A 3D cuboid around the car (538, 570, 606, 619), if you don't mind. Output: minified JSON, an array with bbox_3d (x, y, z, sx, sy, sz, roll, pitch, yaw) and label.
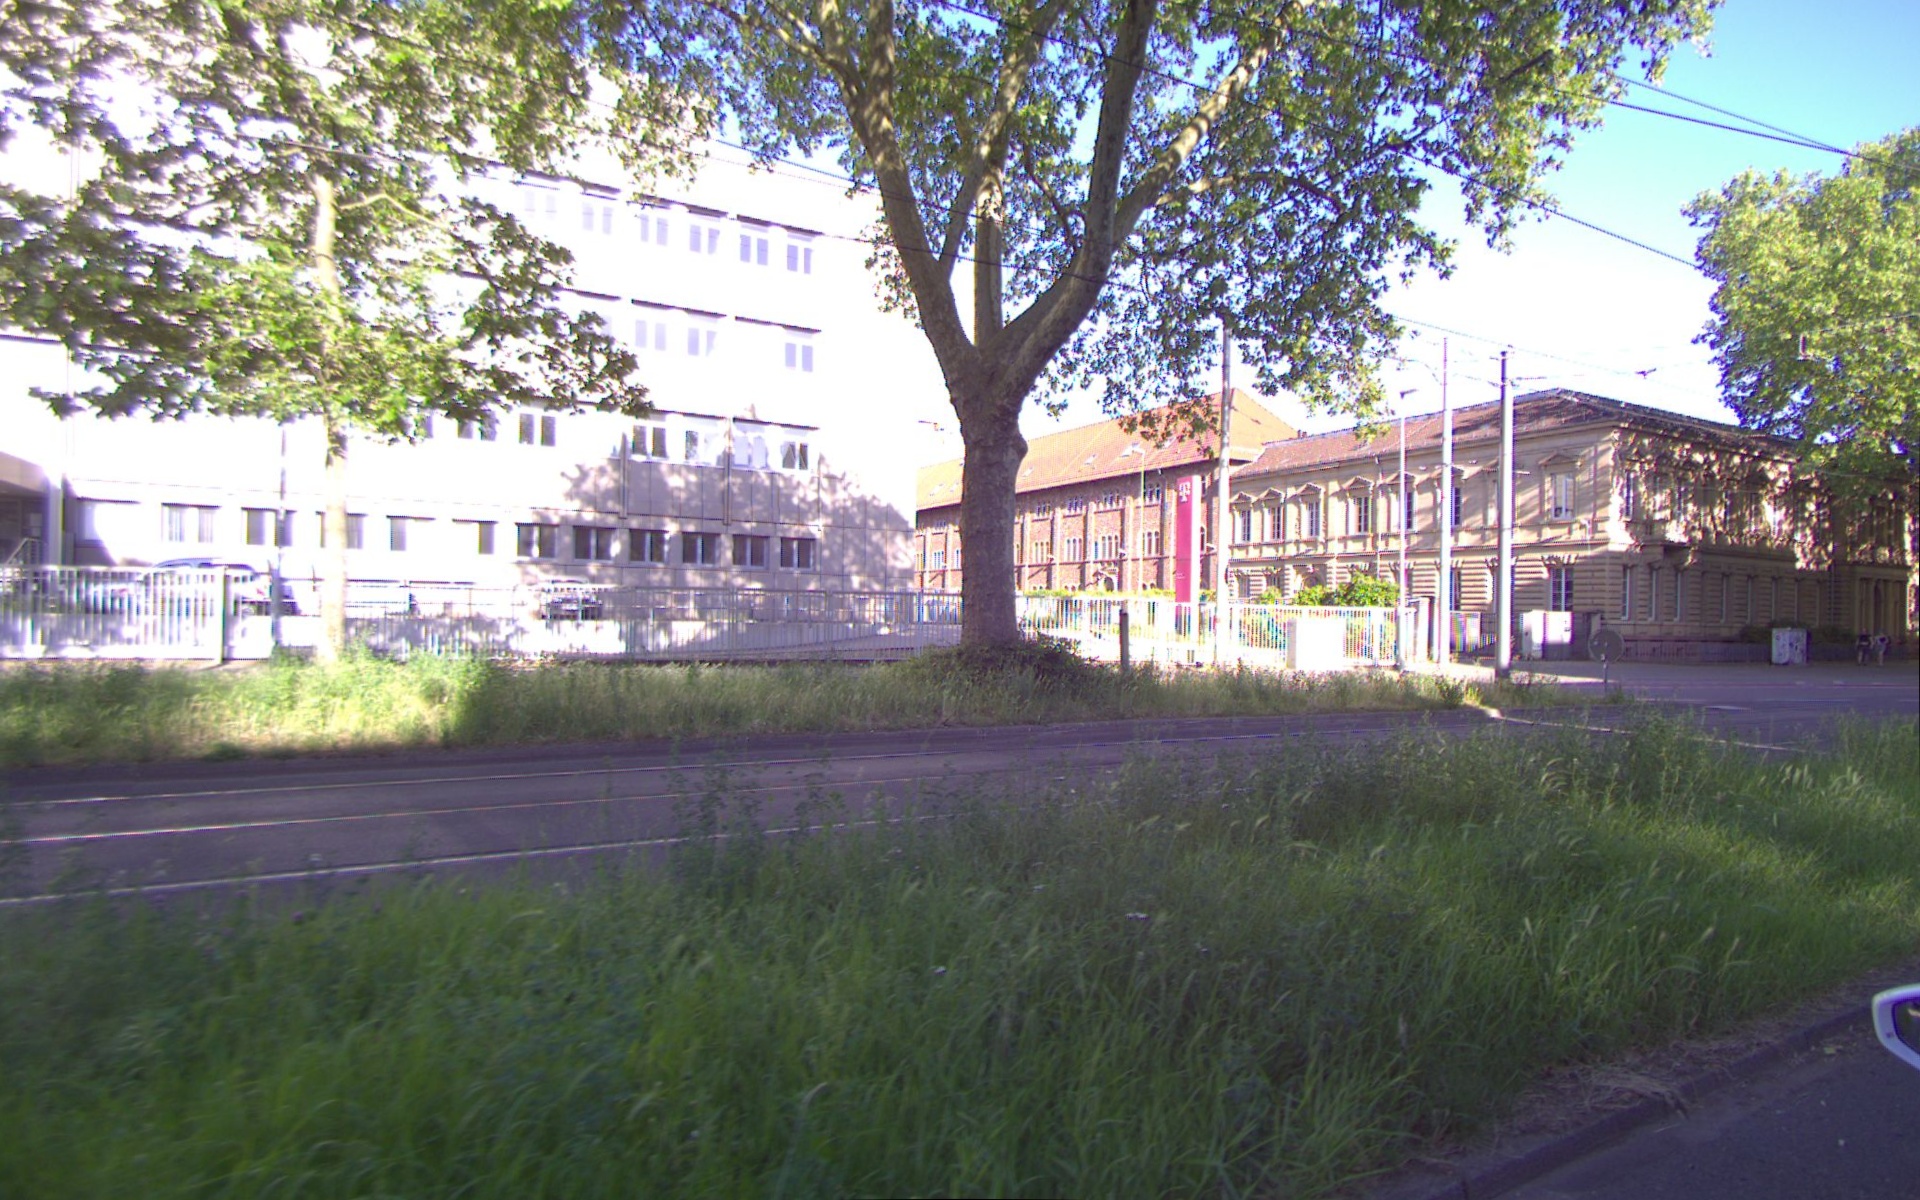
[{"bbox_3d":[-15.068,-0.201,38.889,1.831,1.742,4.248,2,0,-29],"label":"car"}]

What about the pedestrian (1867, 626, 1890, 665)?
[{"bbox_3d":[41.922,2.074,45.839,0.650,1.720,0.629,2,0,-37],"label":"pedestrian"}]

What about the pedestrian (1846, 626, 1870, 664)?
[{"bbox_3d":[41.495,2.064,46.400,0.656,1.720,0.666,2,0,-37],"label":"pedestrian"}]

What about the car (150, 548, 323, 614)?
[{"bbox_3d":[-21.417,-0.531,29.947,3.953,1.775,1.839,2,0,-30],"label":"car"}]

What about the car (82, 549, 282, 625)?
[{"bbox_3d":[-20.670,-0.308,26.931,3.953,1.841,1.839,2,0,-30],"label":"car"}]
